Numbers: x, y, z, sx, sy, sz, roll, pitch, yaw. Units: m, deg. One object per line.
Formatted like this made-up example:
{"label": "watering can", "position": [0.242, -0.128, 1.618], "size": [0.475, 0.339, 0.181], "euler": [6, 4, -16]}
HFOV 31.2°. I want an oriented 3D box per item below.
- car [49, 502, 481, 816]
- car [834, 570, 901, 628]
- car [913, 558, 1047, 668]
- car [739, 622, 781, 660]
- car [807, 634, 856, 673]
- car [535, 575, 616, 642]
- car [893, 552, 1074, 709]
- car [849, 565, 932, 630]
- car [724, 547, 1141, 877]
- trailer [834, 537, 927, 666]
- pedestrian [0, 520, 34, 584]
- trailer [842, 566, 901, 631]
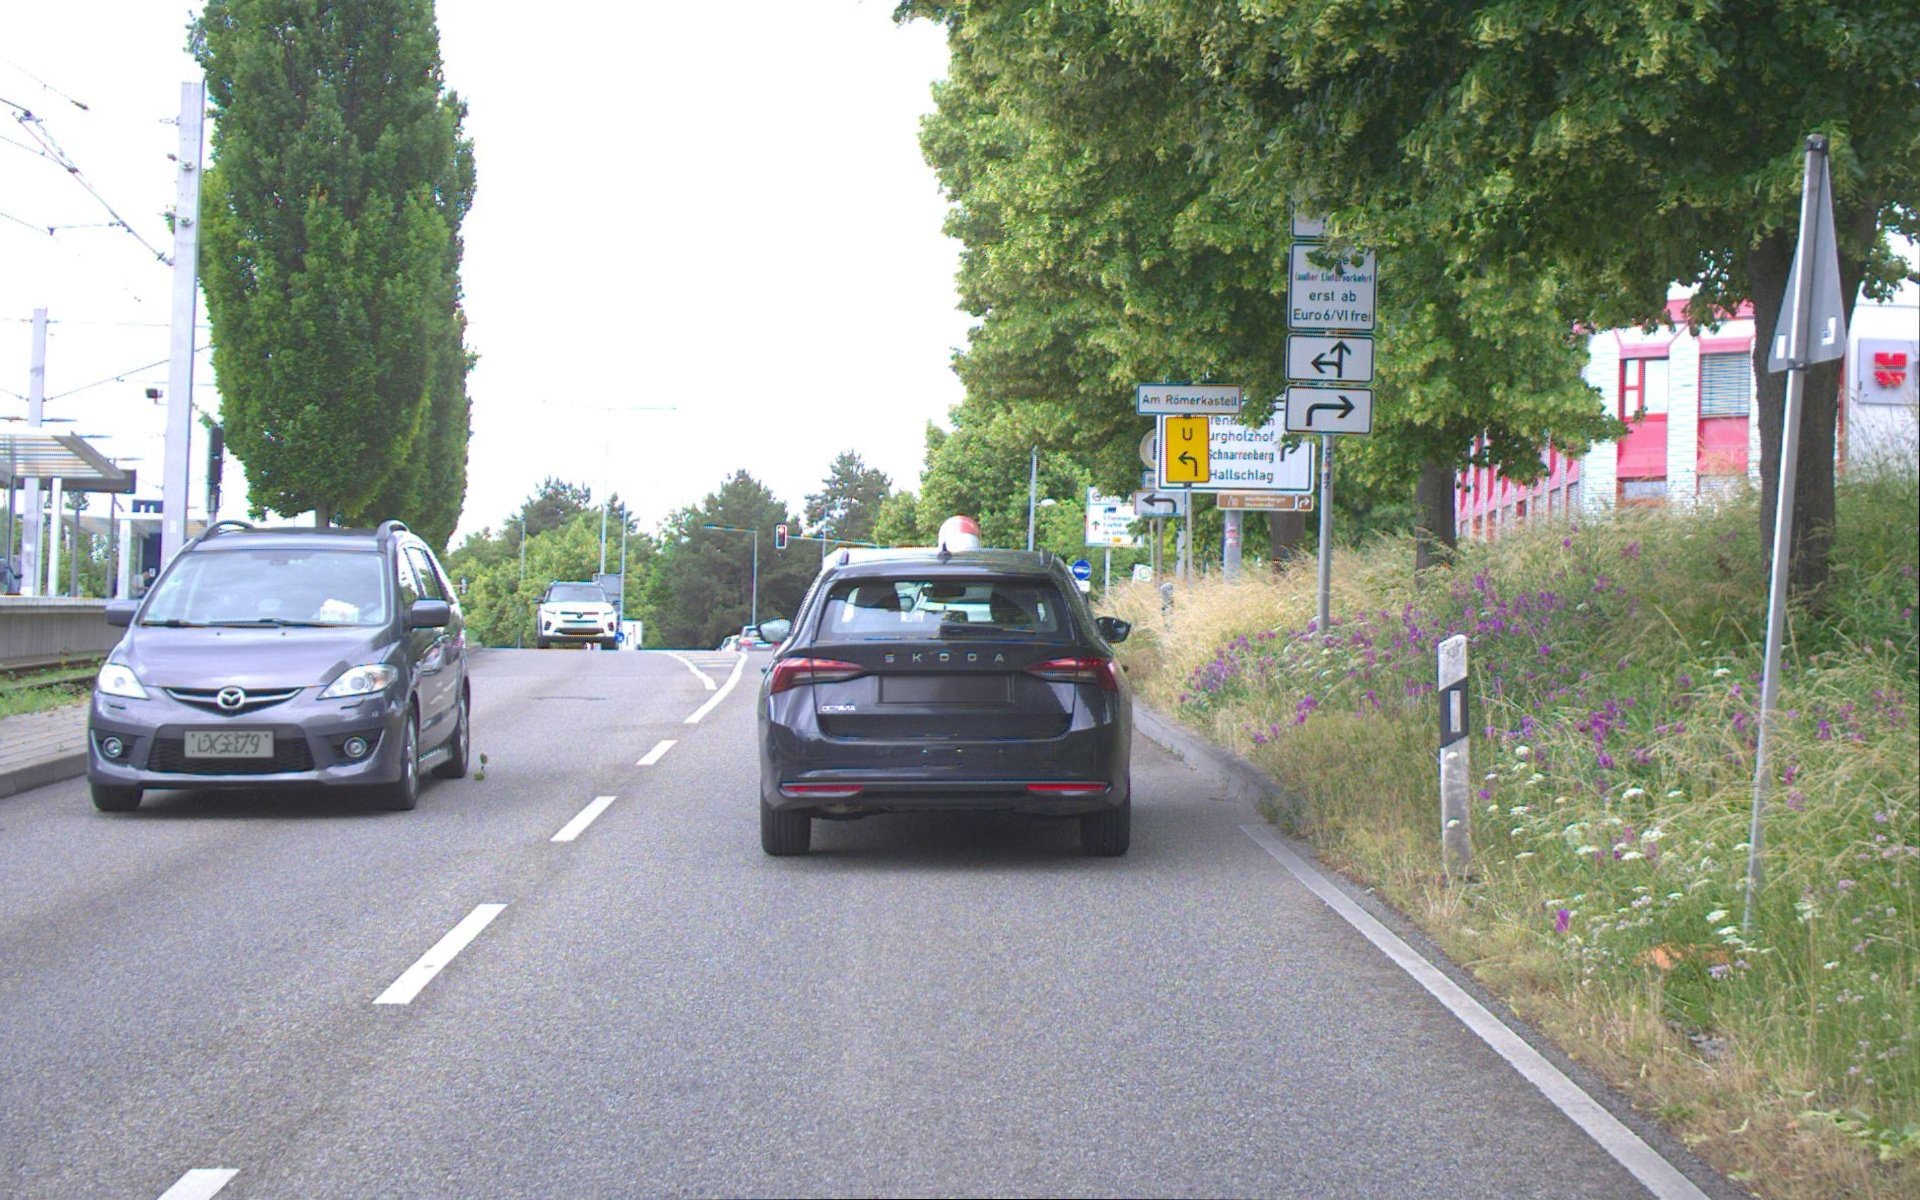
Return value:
{"label": "car", "position": [-4.000, 0.277, 20.447], "size": [1.823, 1.651, 4.246], "euler": [1, 1, -2]}
{"label": "car", "position": [-2.509, -0.006, 92.293], "size": [1.671, 1.443, 4.489], "euler": [1, -1, -3]}
{"label": "car", "position": [0.245, 0.185, 48.233], "size": [1.718, 1.452, 3.697], "euler": [1, 0, -2]}
{"label": "car", "position": [-7.568, 1.541, 129.857], "size": [1.525, 1.349, 3.491], "euler": [1, 1, -4]}
{"label": "car", "position": [-4.902, 2.030, 131.353], "size": [1.811, 1.349, 4.118], "euler": [1, 0, -2]}
{"label": "car", "position": [-8.926, 0.179, 79.956], "size": [1.715, 1.516, 3.745], "euler": [0, 1, -4]}
{"label": "car", "position": [0.184, 0.270, 33.744], "size": [1.623, 1.452, 3.689], "euler": [0, 0, -2]}
{"label": "car", "position": [-1.668, -0.079, 81.556], "size": [1.698, 1.481, 4.001], "euler": [1, 0, -4]}
{"label": "car", "position": [-0.012, 0.463, 17.423], "size": [1.836, 1.427, 4.278], "euler": [1, 1, 3]}
{"label": "trailer", "position": [-2.760, 0.108, 117.281], "size": [2.565, 3.694, 7.763], "euler": [1, -5, -6]}
{"label": "pedestrian", "position": [-18.020, -0.918, 65.272], "size": [0.761, 1.195, 0.665], "euler": [1, -1, -7]}
{"label": "trailer", "position": [-2.298, -0.027, 88.381], "size": [1.409, 1.588, 3.303], "euler": [1, -1, -3]}
